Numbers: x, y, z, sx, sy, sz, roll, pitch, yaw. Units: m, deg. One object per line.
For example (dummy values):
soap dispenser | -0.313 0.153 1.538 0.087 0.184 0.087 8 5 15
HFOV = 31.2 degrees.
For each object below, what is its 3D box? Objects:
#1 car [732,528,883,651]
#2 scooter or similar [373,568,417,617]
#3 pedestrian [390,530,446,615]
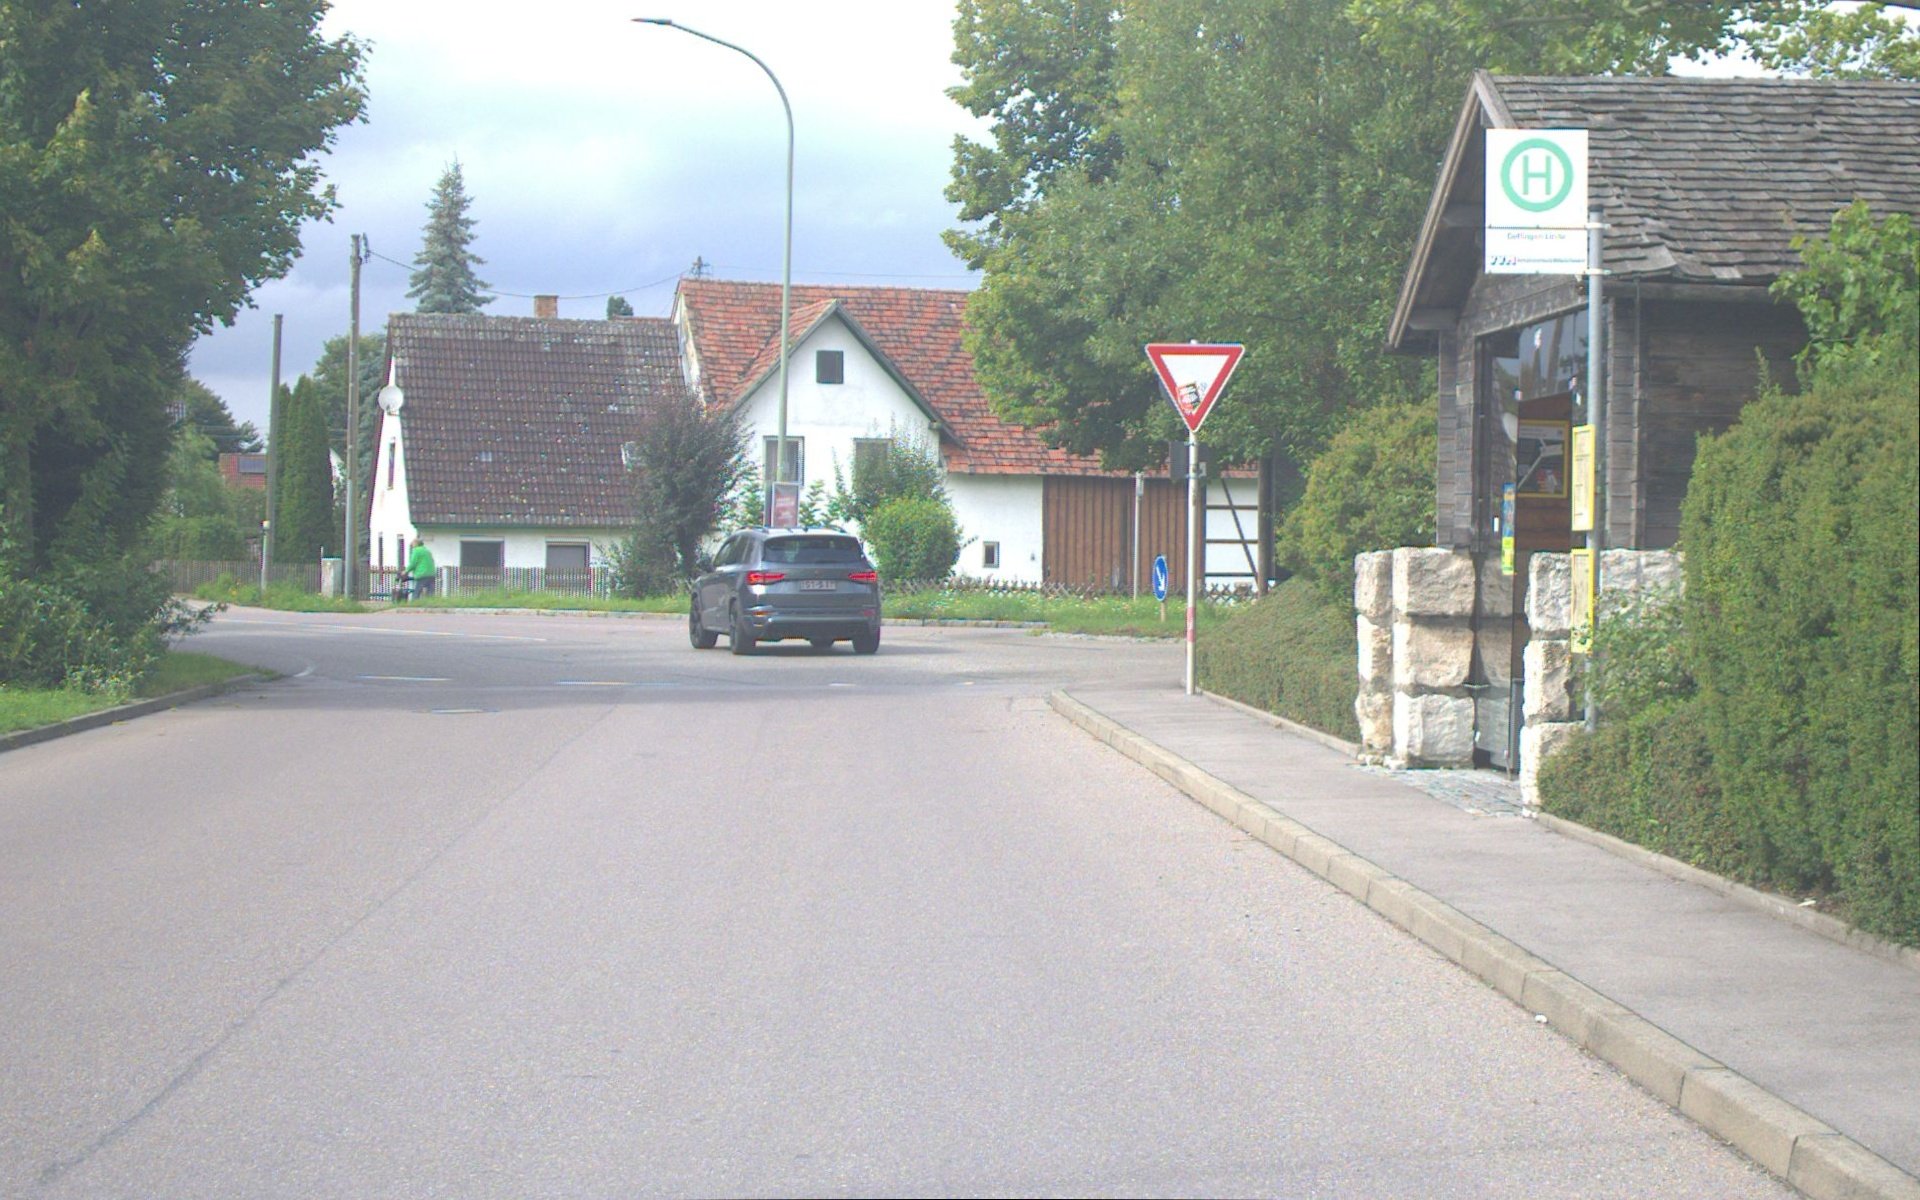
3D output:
car | -1.952 -0.163 43.088 1.798 1.457 3.663 1 1 -4
scooter or similar | -11.682 -0.152 71.097 0.630 0.945 0.622 5 -2 -34
pedestrian | -11.139 -0.563 70.647 0.788 1.659 0.712 5 -2 -34
